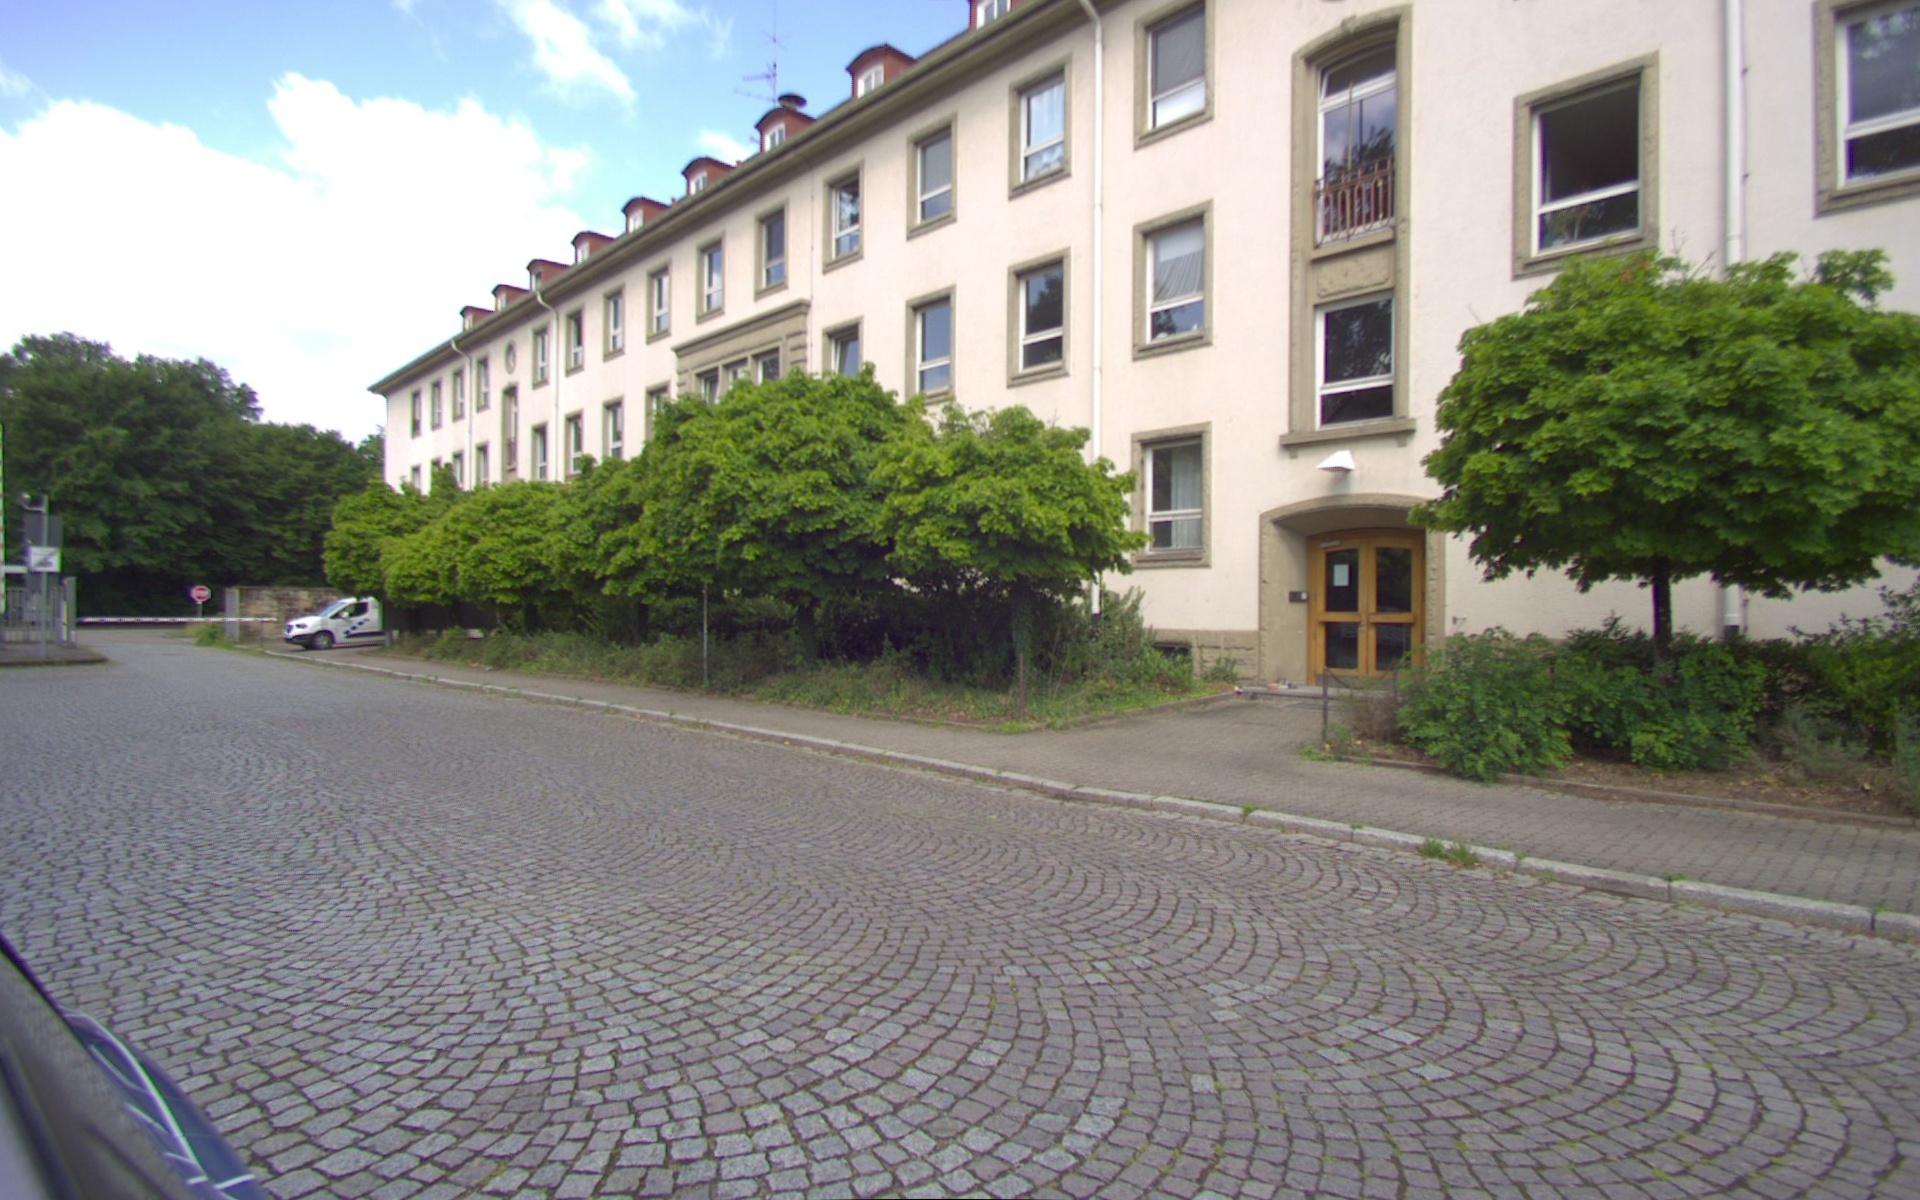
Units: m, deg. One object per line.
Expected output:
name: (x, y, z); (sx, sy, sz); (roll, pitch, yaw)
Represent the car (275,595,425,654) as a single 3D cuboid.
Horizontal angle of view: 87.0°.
car: (-21.944, 0.832, 36.509); (1.821, 1.819, 4.254); (0, 3, 43)
